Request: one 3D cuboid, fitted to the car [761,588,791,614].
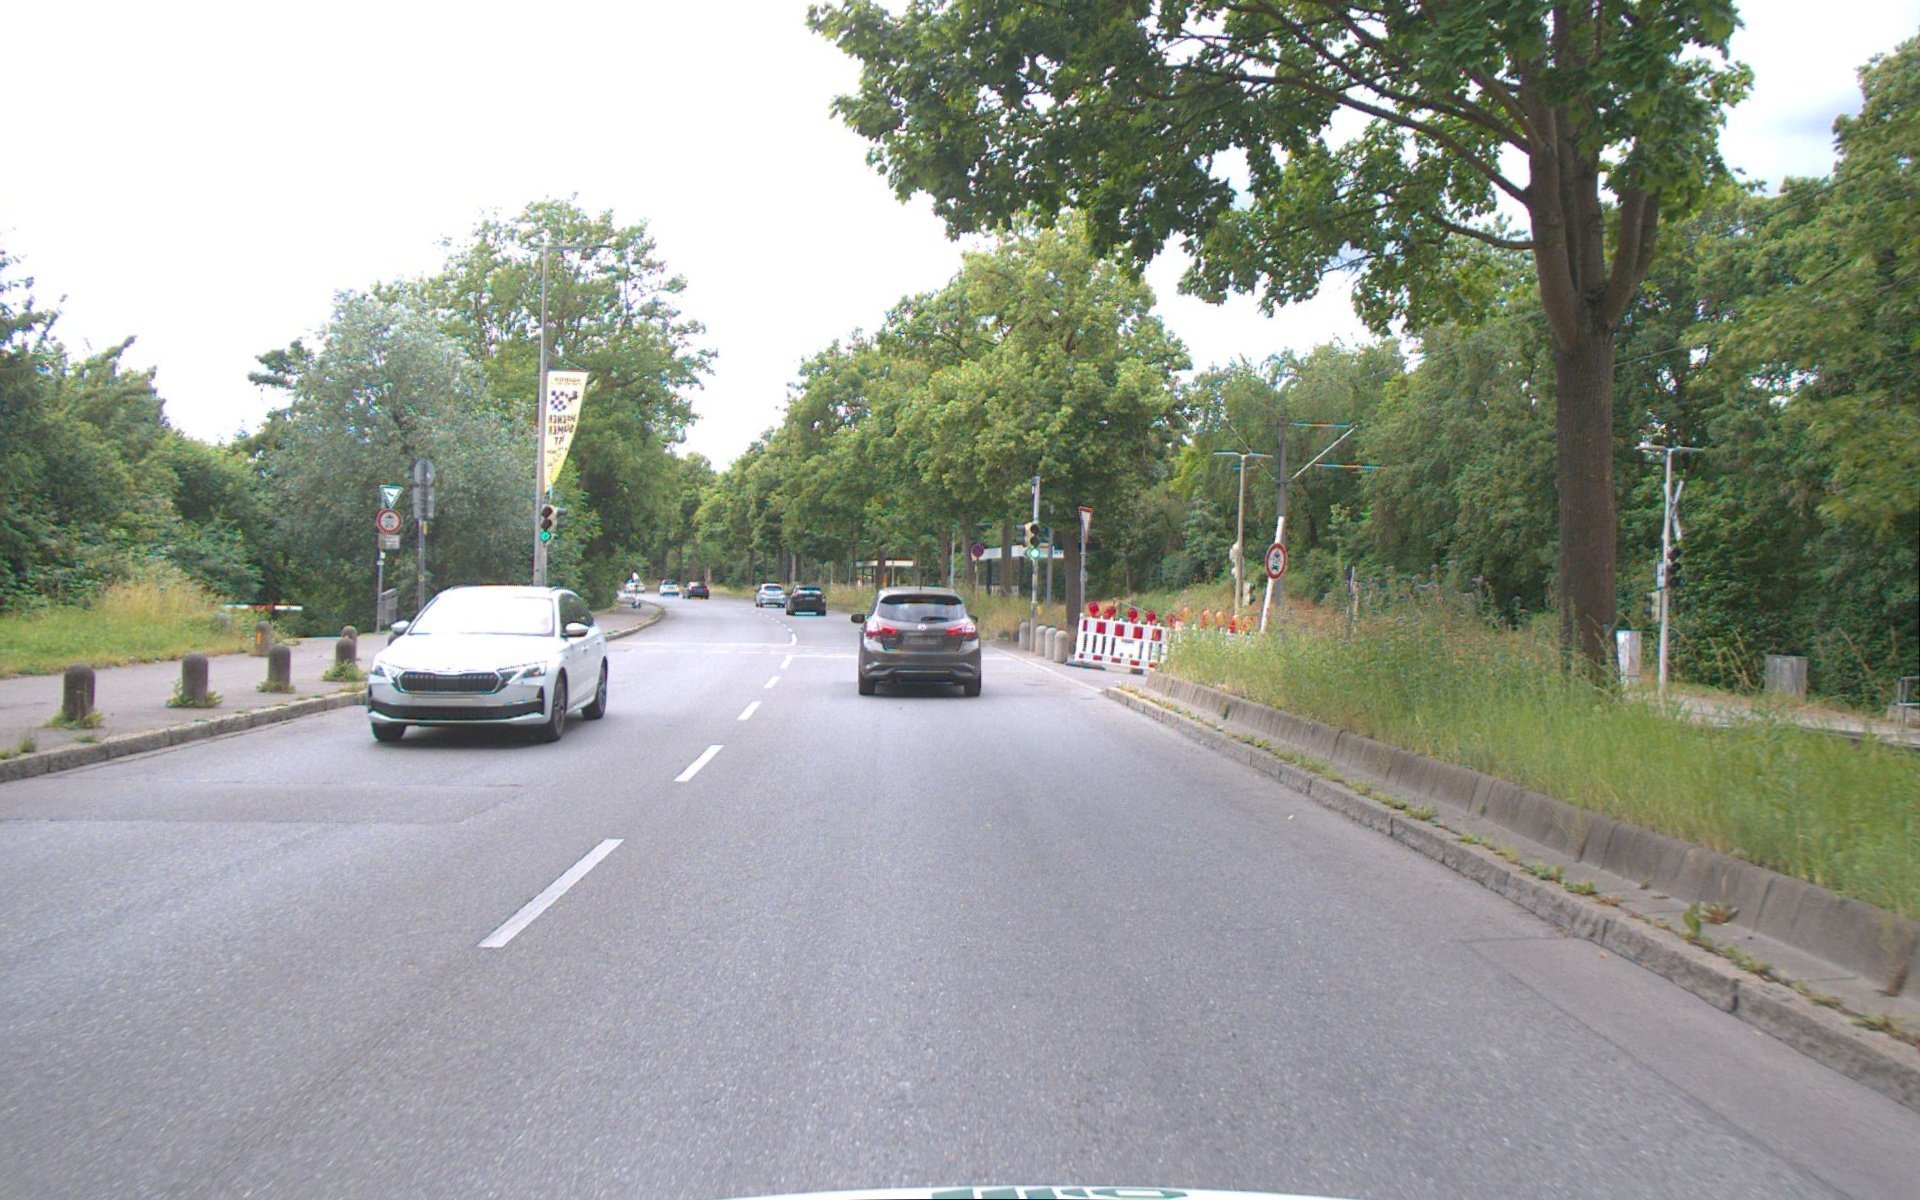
[{"bbox_3d":[-11.792,0.040,106.133,1.742,1.497,3.996,3,0,-6],"label":"car"}]

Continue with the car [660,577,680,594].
[{"bbox_3d":[-28.066,-1.381,160.196,1.744,1.497,3.989,2,1,-12],"label":"car"}]

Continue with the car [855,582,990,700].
[{"bbox_3d":[-0.637,0.539,24.616,1.780,1.534,3.997,1,1,-4],"label":"car"}]

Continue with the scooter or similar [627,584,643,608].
[{"bbox_3d":[-17.081,-0.197,86.892,0.361,1.204,1.284,2,0,-30],"label":"scooter or similar"}]

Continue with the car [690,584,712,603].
[{"bbox_3d":[-22.574,-0.553,144.001,1.743,1.497,3.992,5,0,-9],"label":"car"}]

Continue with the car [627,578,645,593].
[{"bbox_3d":[-35.303,-1.571,180.095,1.745,1.497,3.989,3,0,-12],"label":"car"}]

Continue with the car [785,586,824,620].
[{"bbox_3d":[-7.662,0.115,81.358,1.742,1.497,3.995,3,0,-7],"label":"car"}]

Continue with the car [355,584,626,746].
[{"bbox_3d":[-4.697,0.573,17.191,1.737,1.464,4.359,0,1,-3],"label":"car"}]
